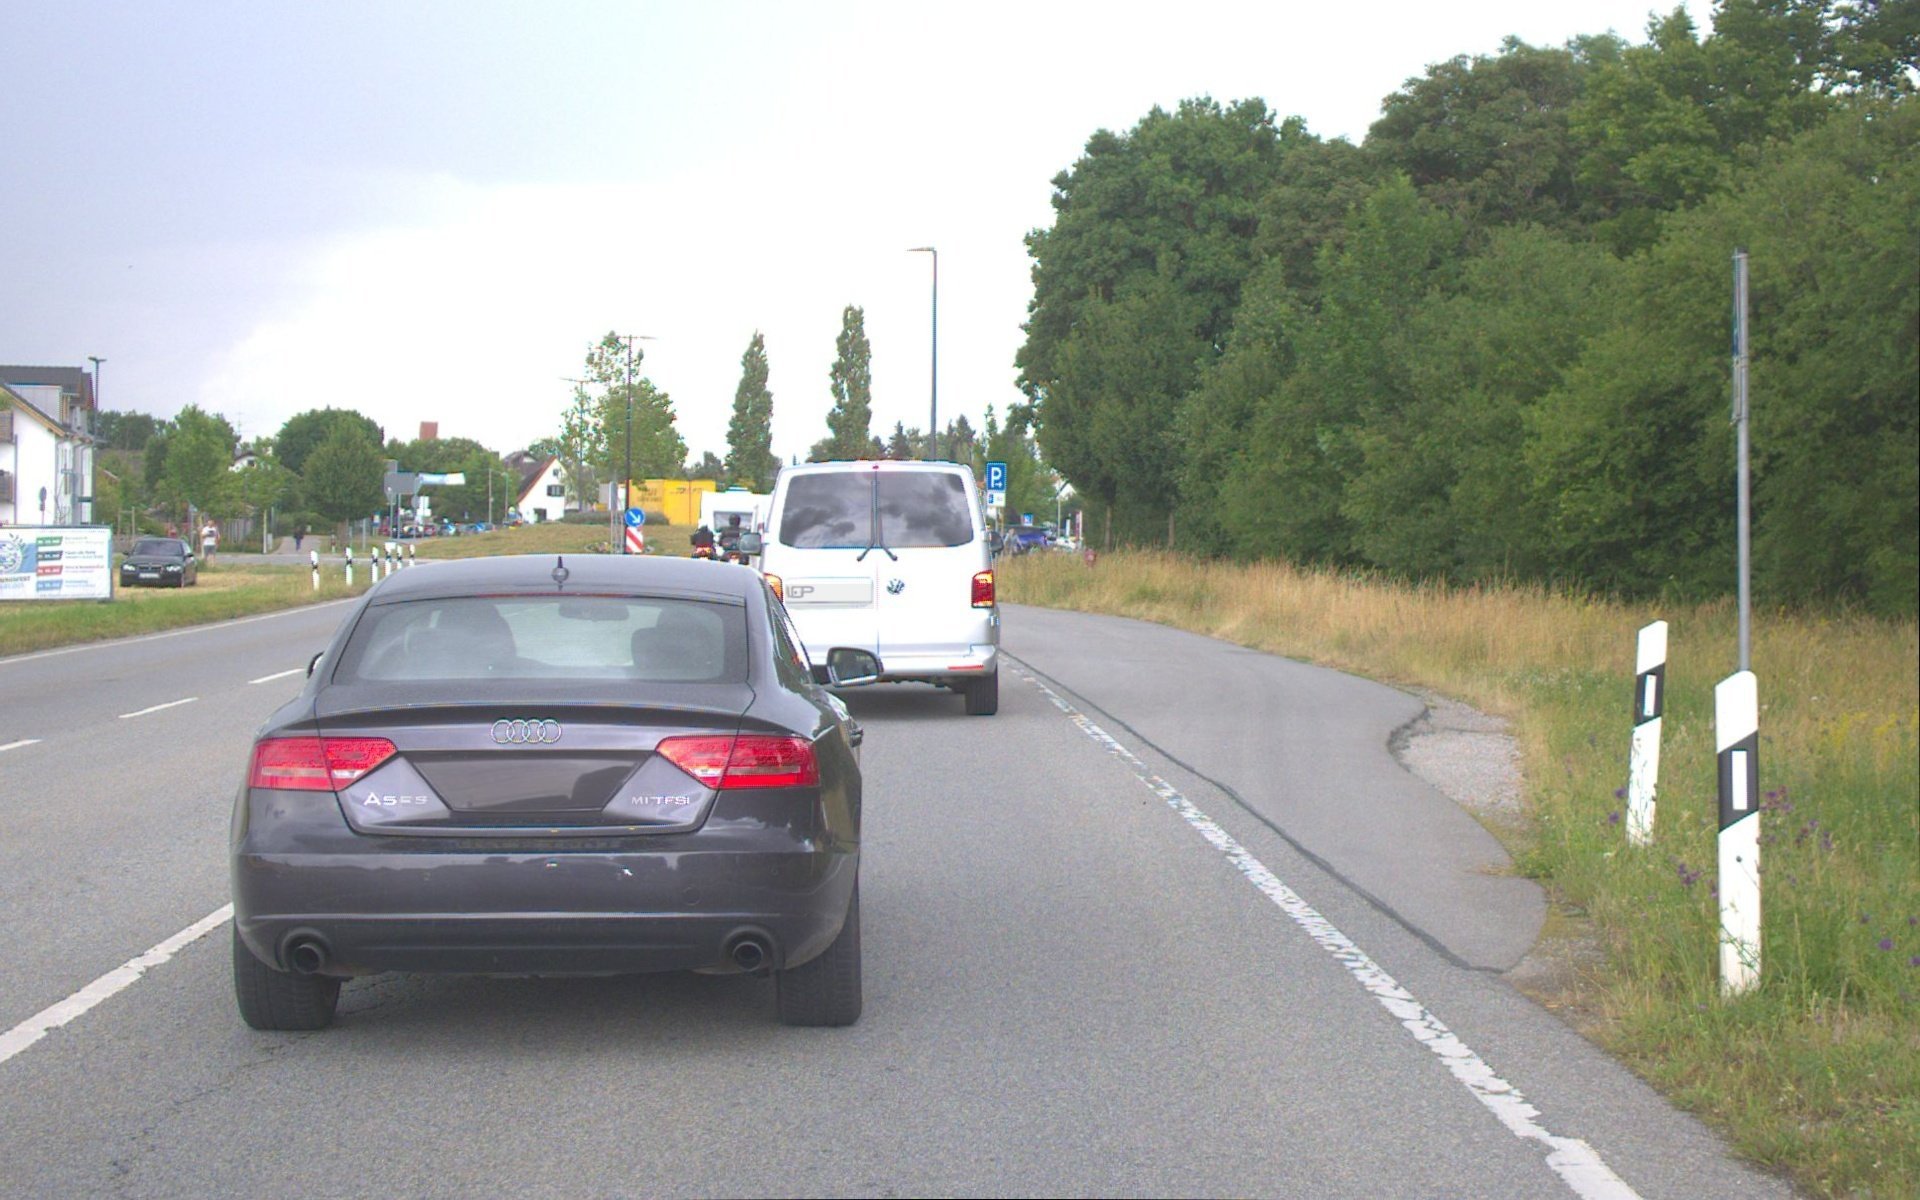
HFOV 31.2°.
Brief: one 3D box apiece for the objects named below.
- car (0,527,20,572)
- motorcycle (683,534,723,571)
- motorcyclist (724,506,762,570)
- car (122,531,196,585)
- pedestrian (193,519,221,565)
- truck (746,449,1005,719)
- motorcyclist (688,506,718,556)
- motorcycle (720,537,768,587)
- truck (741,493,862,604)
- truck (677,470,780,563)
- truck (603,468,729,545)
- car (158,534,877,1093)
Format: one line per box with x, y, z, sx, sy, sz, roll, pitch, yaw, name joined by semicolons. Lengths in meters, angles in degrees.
-32.104;-1.600;110.013;1.995;1.441;4.208;1;1;17;car
-7.074;-1.314;94.591;0.944;1.016;2.284;0;1;-8;motorcycle
-4.762;-1.369;75.580;0.772;1.379;0.820;1;1;0;motorcyclist
-22.786;-1.216;97.872;1.993;1.437;4.002;0;2;-13;car
-25.887;-2.001;118.237;0.701;1.580;0.657;1;1;15;pedestrian
-0.692;-0.171;27.780;1.904;1.991;4.629;0;1;-2;truck
-7.074;-1.902;94.578;0.785;1.352;0.854;0;1;-8;motorcyclist
-4.749;-0.845;75.735;0.920;1.090;2.189;1;1;0;motorcycle
-2.977;-0.995;65.489;2.193;2.007;5.085;0;1;-2;truck
-7.174;-2.565;105.876;2.625;2.728;5.869;1;1;-9;truck
-14.404;-4.577;167.494;3.575;3.566;9.960;1;2;-20;truck
-1.244;0.520;11.125;1.875;1.449;4.177;0;1;-2;car
